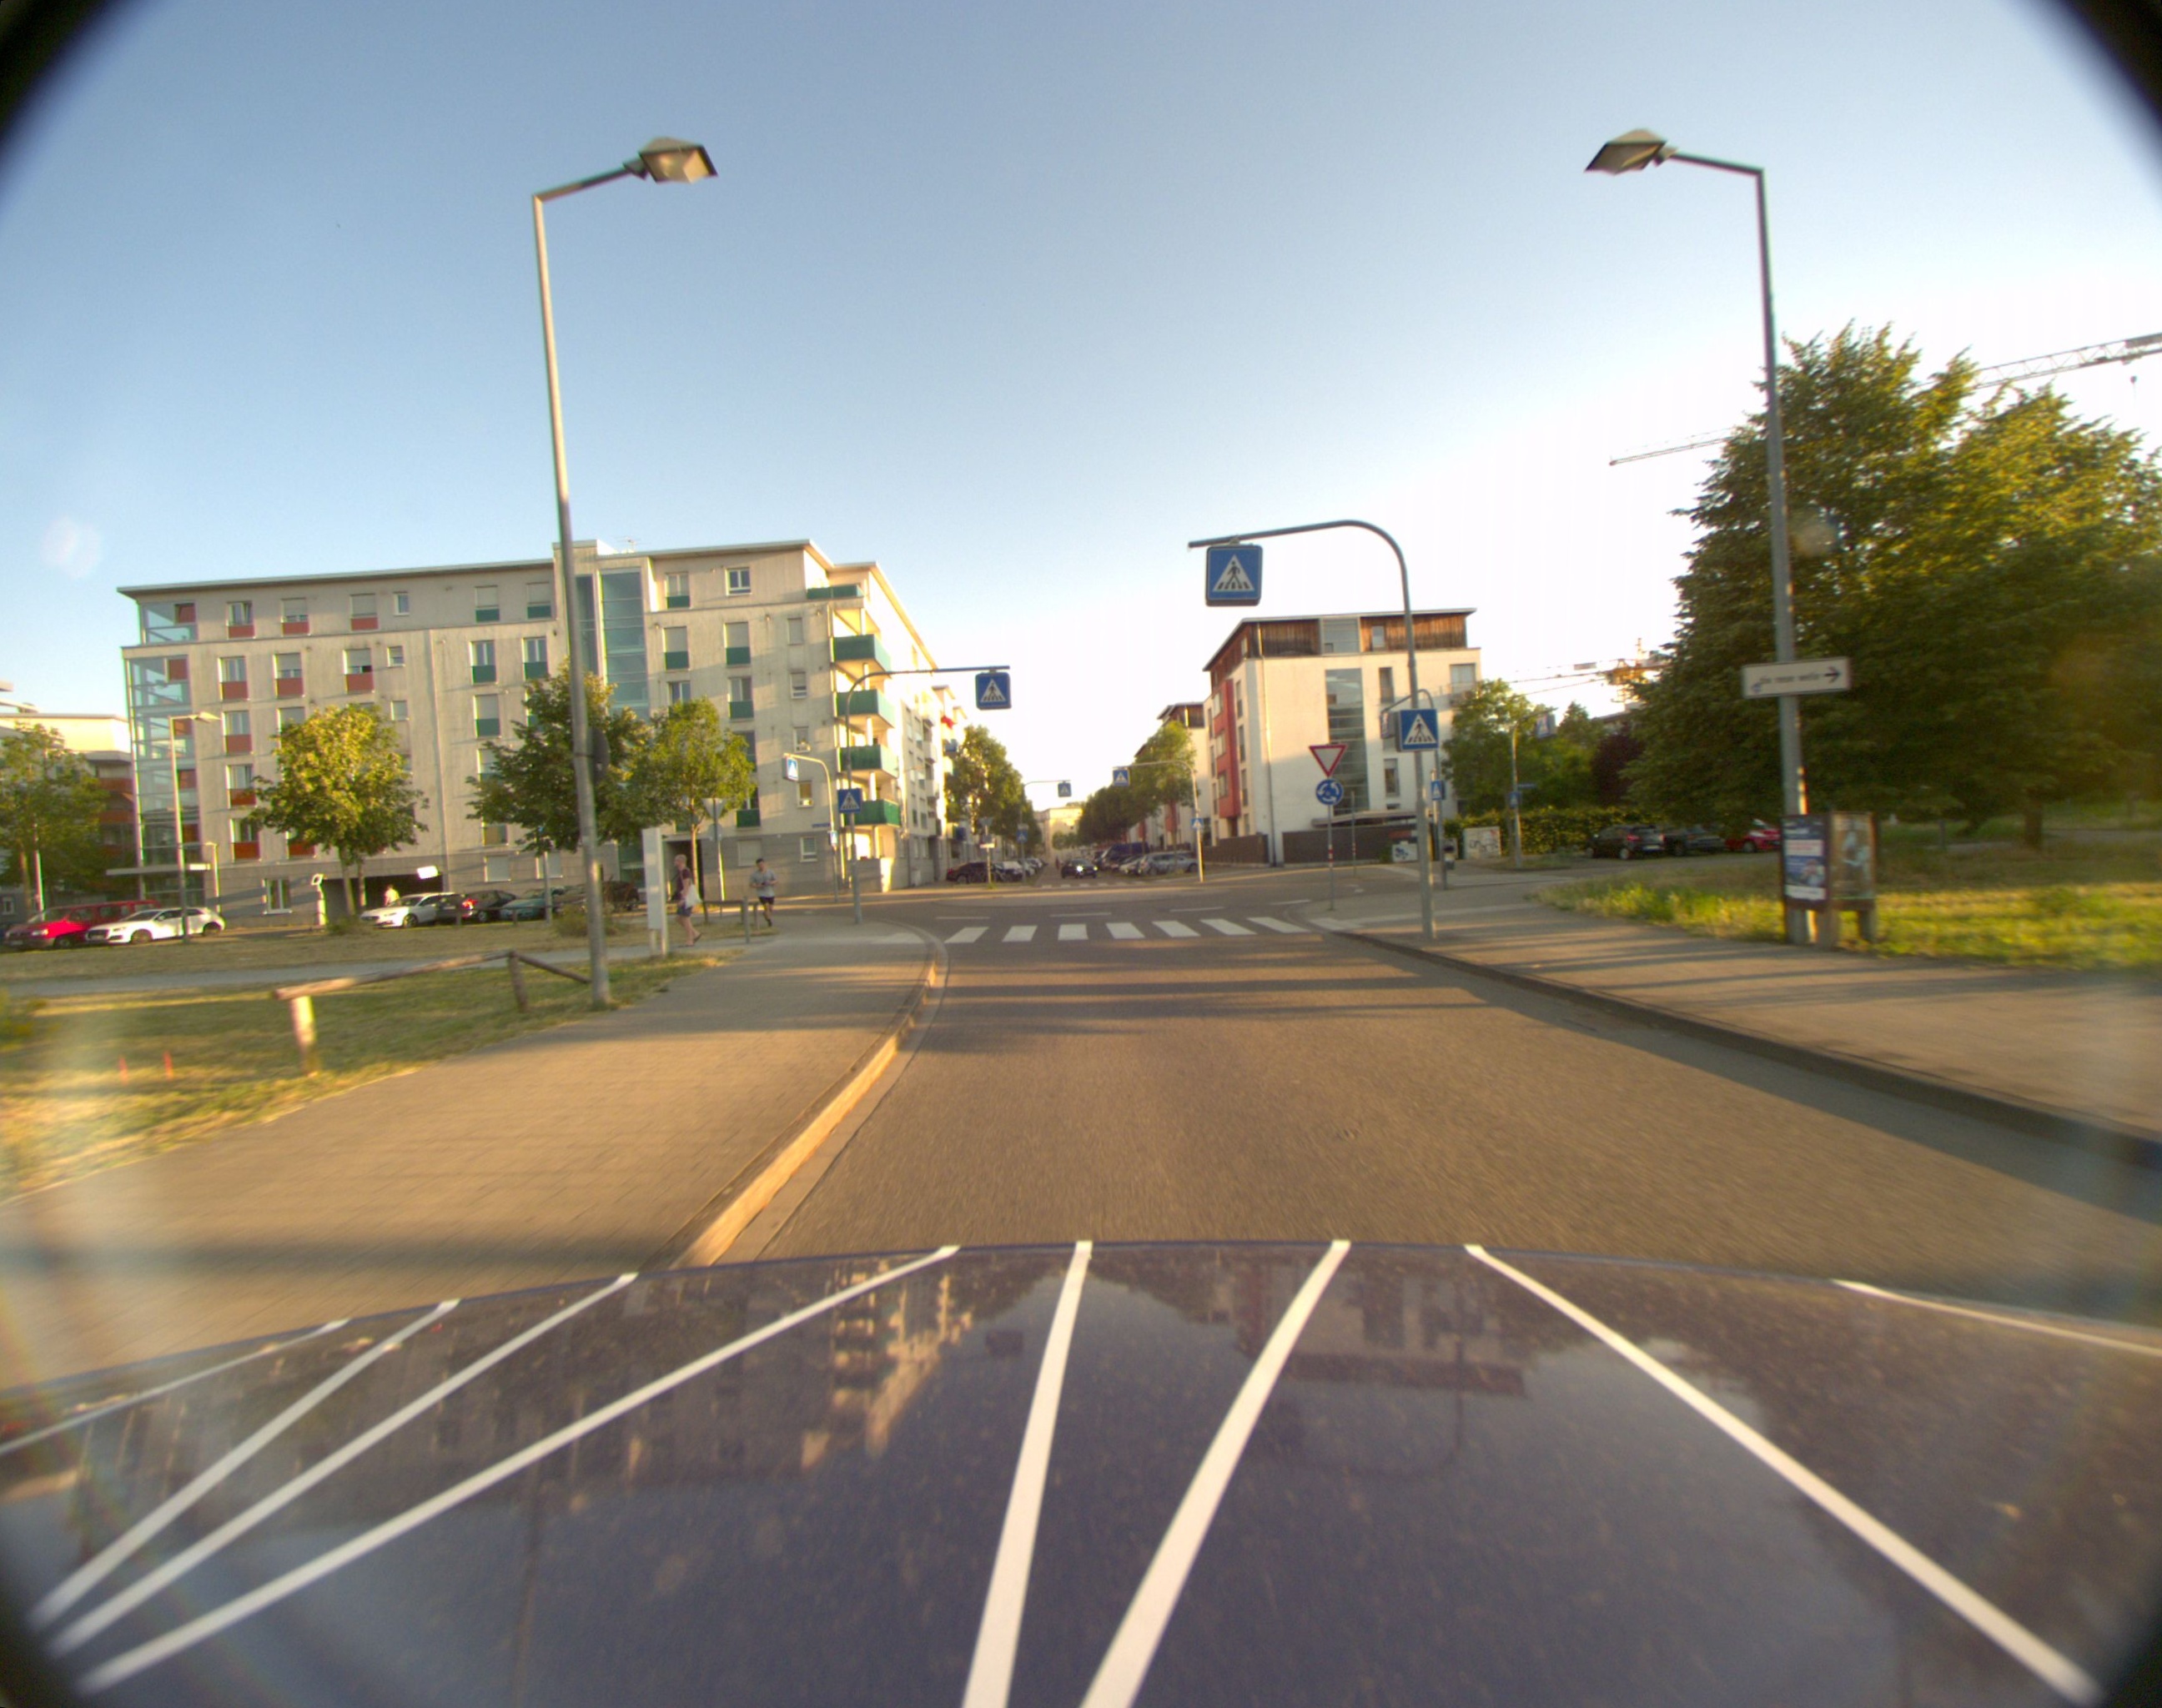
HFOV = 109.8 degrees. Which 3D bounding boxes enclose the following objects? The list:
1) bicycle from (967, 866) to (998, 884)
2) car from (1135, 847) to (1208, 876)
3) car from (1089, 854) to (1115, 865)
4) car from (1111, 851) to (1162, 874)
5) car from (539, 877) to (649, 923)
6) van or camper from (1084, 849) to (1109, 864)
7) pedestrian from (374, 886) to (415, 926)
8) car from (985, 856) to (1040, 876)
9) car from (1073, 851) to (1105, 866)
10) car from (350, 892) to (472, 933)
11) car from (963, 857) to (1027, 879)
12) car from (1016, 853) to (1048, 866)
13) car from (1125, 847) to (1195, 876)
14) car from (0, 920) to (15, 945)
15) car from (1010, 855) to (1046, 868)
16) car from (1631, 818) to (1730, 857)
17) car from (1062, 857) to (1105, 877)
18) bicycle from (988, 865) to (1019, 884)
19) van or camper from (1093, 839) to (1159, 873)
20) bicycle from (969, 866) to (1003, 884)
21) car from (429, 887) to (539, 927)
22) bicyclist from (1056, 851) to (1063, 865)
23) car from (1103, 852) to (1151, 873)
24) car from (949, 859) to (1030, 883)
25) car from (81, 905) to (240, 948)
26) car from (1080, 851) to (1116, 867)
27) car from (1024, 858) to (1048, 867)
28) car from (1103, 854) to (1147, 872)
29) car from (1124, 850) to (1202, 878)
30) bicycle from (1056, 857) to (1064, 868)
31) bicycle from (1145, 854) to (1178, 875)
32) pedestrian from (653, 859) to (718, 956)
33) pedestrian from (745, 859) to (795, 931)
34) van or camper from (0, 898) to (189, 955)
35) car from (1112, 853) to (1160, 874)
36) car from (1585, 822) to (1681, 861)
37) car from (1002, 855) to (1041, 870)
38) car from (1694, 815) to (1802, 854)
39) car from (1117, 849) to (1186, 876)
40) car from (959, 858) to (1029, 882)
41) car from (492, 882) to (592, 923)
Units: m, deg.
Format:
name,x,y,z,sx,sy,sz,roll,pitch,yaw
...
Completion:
name,x,y,z,sx,sy,sz,roll,pitch,yaw
bicycle,-5.864,1.235,45.221,1.793,1.035,0.567,-1,-1,-6
car,5.782,0.495,48.909,4.292,1.449,1.680,-5,0,-4
car,3.475,0.930,126.634,4.251,1.775,1.693,-1,0,-1
car,4.685,0.720,64.021,3.920,1.700,1.723,-4,0,-6
car,-21.373,1.961,33.599,1.832,1.479,4.479,-4,2,0
van or camper,2.628,0.423,131.505,4.251,2.520,1.760,-1,0,-1
pedestrian,-34.009,2.565,37.648,1.049,1.883,0.980,-4,0,1
car,-5.519,0.987,61.106,4.295,1.499,1.685,-1,0,-5
car,1.061,0.618,104.418,4.252,1.919,1.692,-1,0,-3
car,-29.383,2.531,33.513,1.700,1.471,4.057,-4,-1,0
car,-6.023,1.004,53.572,4.294,1.485,1.742,-1,0,-2
car,-6.683,0.735,104.599,4.251,1.768,1.693,-1,0,-1
car,5.596,0.540,54.175,4.784,1.546,1.711,-5,0,2
car,-65.584,4.772,44.322,3.532,1.459,1.610,-3,-1,-31
car,-6.324,0.901,91.395,4.251,1.527,1.693,-1,0,-1
car,26.099,-0.695,33.208,1.593,1.491,3.410,-4,1,0
car,0.128,1.005,57.834,1.780,1.454,4.171,-1,-1,-23
bicycle,-4.702,1.235,45.945,1.840,1.065,0.473,-1,-1,-6
van or camper,4.676,0.191,79.451,6.316,3.069,2.441,-4,0,-6
bicycle,-5.777,1.258,46.340,2.035,1.040,0.473,-1,-1,-6
car,-26.674,2.347,34.136,1.700,1.471,4.057,-4,-1,0
bicyclist,-2.595,0.530,92.204,0.767,1.618,0.663,-4,0,-3
car,4.254,0.822,70.810,4.103,1.616,1.723,-4,0,-6
car,-5.801,1.081,48.372,4.887,1.449,1.938,-1,0,0
car,-41.415,3.213,34.392,1.700,1.512,4.467,-4,-1,0
car,2.090,0.635,94.509,4.252,1.919,1.692,-1,0,-3
car,-8.174,1.516,137.988,4.251,1.629,1.693,-1,0,-1
car,4.291,0.890,74.324,4.103,1.616,1.723,-1,0,-6
car,5.505,0.676,51.484,4.916,1.469,1.710,-5,0,-4
bicycle,-2.567,1.013,92.150,0.771,1.259,1.781,-4,-1,-3
bicycle,4.873,0.623,46.064,1.821,1.060,0.567,-7,0,-4
pedestrian,-7.576,1.010,14.585,0.734,1.773,0.802,-4,0,-1
pedestrian,-7.795,1.015,19.077,0.801,1.719,0.768,-4,0,6
van or camper,-44.388,3.179,34.415,1.876,2.047,5.132,-4,-1,-1
car,4.783,0.818,66.292,3.920,1.506,1.723,-4,0,-6
car,24.017,-0.530,33.210,1.689,1.513,3.410,-4,1,0
car,-6.656,0.951,85.750,4.251,1.527,1.693,-1,0,-1
car,28.604,-0.803,32.729,1.593,1.491,3.410,-4,1,0
car,5.260,0.647,56.795,4.760,1.575,1.758,-5,0,-6
car,-5.828,1.052,51.081,4.412,1.499,1.743,-1,0,1
car,-24.130,2.136,34.206,1.558,1.366,4.004,-4,2,0
